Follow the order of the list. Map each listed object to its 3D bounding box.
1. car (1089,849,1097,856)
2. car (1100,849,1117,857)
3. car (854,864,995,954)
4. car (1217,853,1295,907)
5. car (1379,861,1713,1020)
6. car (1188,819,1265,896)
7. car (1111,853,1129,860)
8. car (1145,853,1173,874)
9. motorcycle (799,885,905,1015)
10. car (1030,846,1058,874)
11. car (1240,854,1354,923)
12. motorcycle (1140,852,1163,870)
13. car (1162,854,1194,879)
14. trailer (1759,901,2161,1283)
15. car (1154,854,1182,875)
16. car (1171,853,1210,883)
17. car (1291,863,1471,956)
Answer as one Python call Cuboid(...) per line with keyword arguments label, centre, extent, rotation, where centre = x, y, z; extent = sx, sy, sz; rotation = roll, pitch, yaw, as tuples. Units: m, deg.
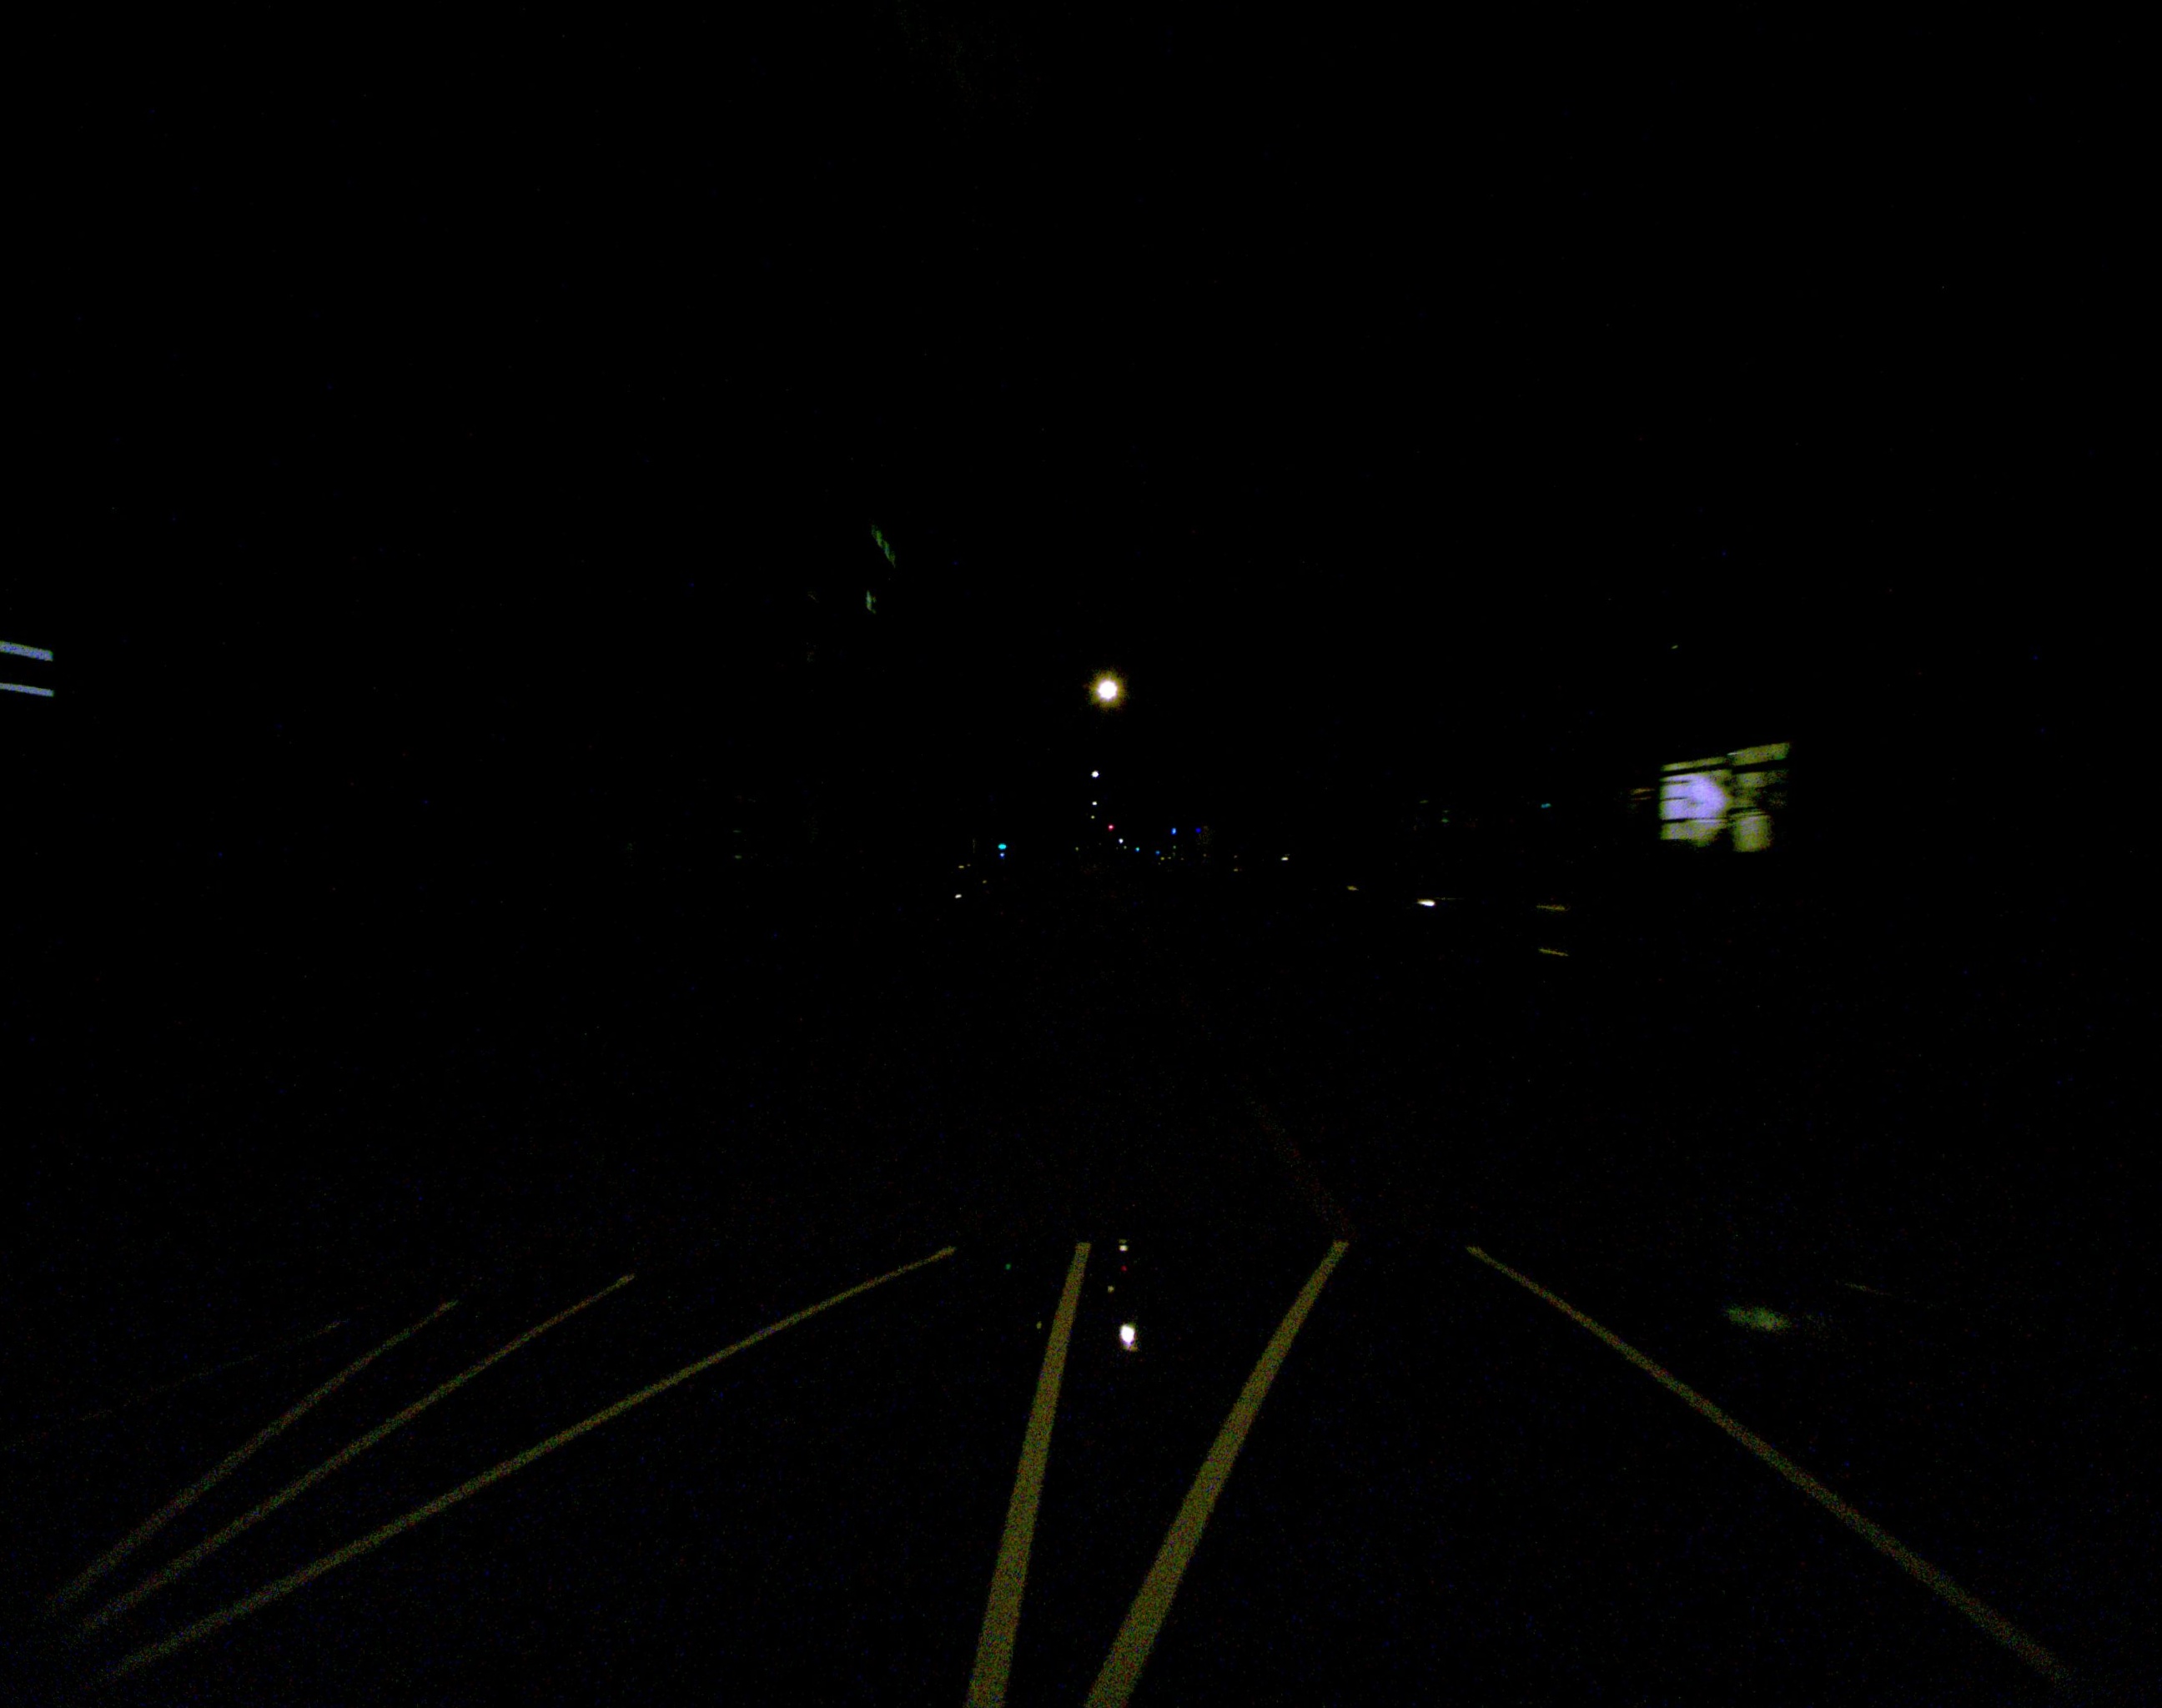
Cuboid(label="car", centre=(2.885, -0.340, 184.041), extent=(1.936, 1.646, 3.833), rotation=(0, 0, 0))
Cuboid(label="car", centre=(6.452, -0.304, 180.756), extent=(3.848, 1.781, 1.634), rotation=(0, 1, -3))
Cuboid(label="car", centre=(-2.888, 0.955, 14.928), extent=(1.672, 1.420, 4.148), rotation=(2, 0, 3))
Cuboid(label="car", centre=(5.839, 0.800, 25.848), extent=(1.746, 1.597, 4.115), rotation=(-2, 1, 1))
Cuboid(label="car", centre=(5.618, 0.915, 9.927), extent=(1.721, 1.493, 4.205), rotation=(-3, 0, 0))
Cuboid(label="car", centre=(5.921, 0.130, 31.572), extent=(2.184, 2.892, 4.909), rotation=(-2, 0, 0))
Cuboid(label="car", centre=(8.715, 0.491, 170.185), extent=(3.763, 1.577, 1.634), rotation=(0, 1, -3))
Cuboid(label="car", centre=(6.026, 0.731, 58.984), extent=(1.646, 1.496, 3.903), rotation=(-2, 0, 0))
Cuboid(label="motorcycle", centre=(-2.819, 1.054, 9.147), extent=(0.930, 1.276, 2.230), rotation=(1, 0, -24))
Cuboid(label="car", centre=(-2.732, 0.424, 57.088), extent=(1.956, 1.952, 4.603), rotation=(-1, 0, -1))
Cuboid(label="car", centre=(5.680, 0.826, 20.571), extent=(1.746, 1.597, 4.297), rotation=(-2, 0, -1))
Cuboid(label="motorcycle", centre=(6.396, 0.606, 68.896), extent=(1.909, 1.541, 0.638), rotation=(-2, 1, -19))
Cuboid(label="car", centre=(6.112, 0.785, 48.384), extent=(1.551, 1.447, 3.368), rotation=(-2, 0, 0))
Cuboid(label="trailer", centre=(5.393, 1.038, 2.189), extent=(2.115, 1.327, 5.435), rotation=(-3, 0, 2))
Cuboid(label="car", centre=(6.214, 0.731, 54.615), extent=(1.448, 1.421, 3.903), rotation=(-3, 0, 0))
Cuboid(label="car", centre=(6.066, 0.763, 42.389), extent=(1.649, 1.496, 3.861), rotation=(-2, 1, 1))
Cuboid(label="car", centre=(5.764, 0.980, 15.284), extent=(1.709, 1.403, 4.633), rotation=(-4, 0, 0))
